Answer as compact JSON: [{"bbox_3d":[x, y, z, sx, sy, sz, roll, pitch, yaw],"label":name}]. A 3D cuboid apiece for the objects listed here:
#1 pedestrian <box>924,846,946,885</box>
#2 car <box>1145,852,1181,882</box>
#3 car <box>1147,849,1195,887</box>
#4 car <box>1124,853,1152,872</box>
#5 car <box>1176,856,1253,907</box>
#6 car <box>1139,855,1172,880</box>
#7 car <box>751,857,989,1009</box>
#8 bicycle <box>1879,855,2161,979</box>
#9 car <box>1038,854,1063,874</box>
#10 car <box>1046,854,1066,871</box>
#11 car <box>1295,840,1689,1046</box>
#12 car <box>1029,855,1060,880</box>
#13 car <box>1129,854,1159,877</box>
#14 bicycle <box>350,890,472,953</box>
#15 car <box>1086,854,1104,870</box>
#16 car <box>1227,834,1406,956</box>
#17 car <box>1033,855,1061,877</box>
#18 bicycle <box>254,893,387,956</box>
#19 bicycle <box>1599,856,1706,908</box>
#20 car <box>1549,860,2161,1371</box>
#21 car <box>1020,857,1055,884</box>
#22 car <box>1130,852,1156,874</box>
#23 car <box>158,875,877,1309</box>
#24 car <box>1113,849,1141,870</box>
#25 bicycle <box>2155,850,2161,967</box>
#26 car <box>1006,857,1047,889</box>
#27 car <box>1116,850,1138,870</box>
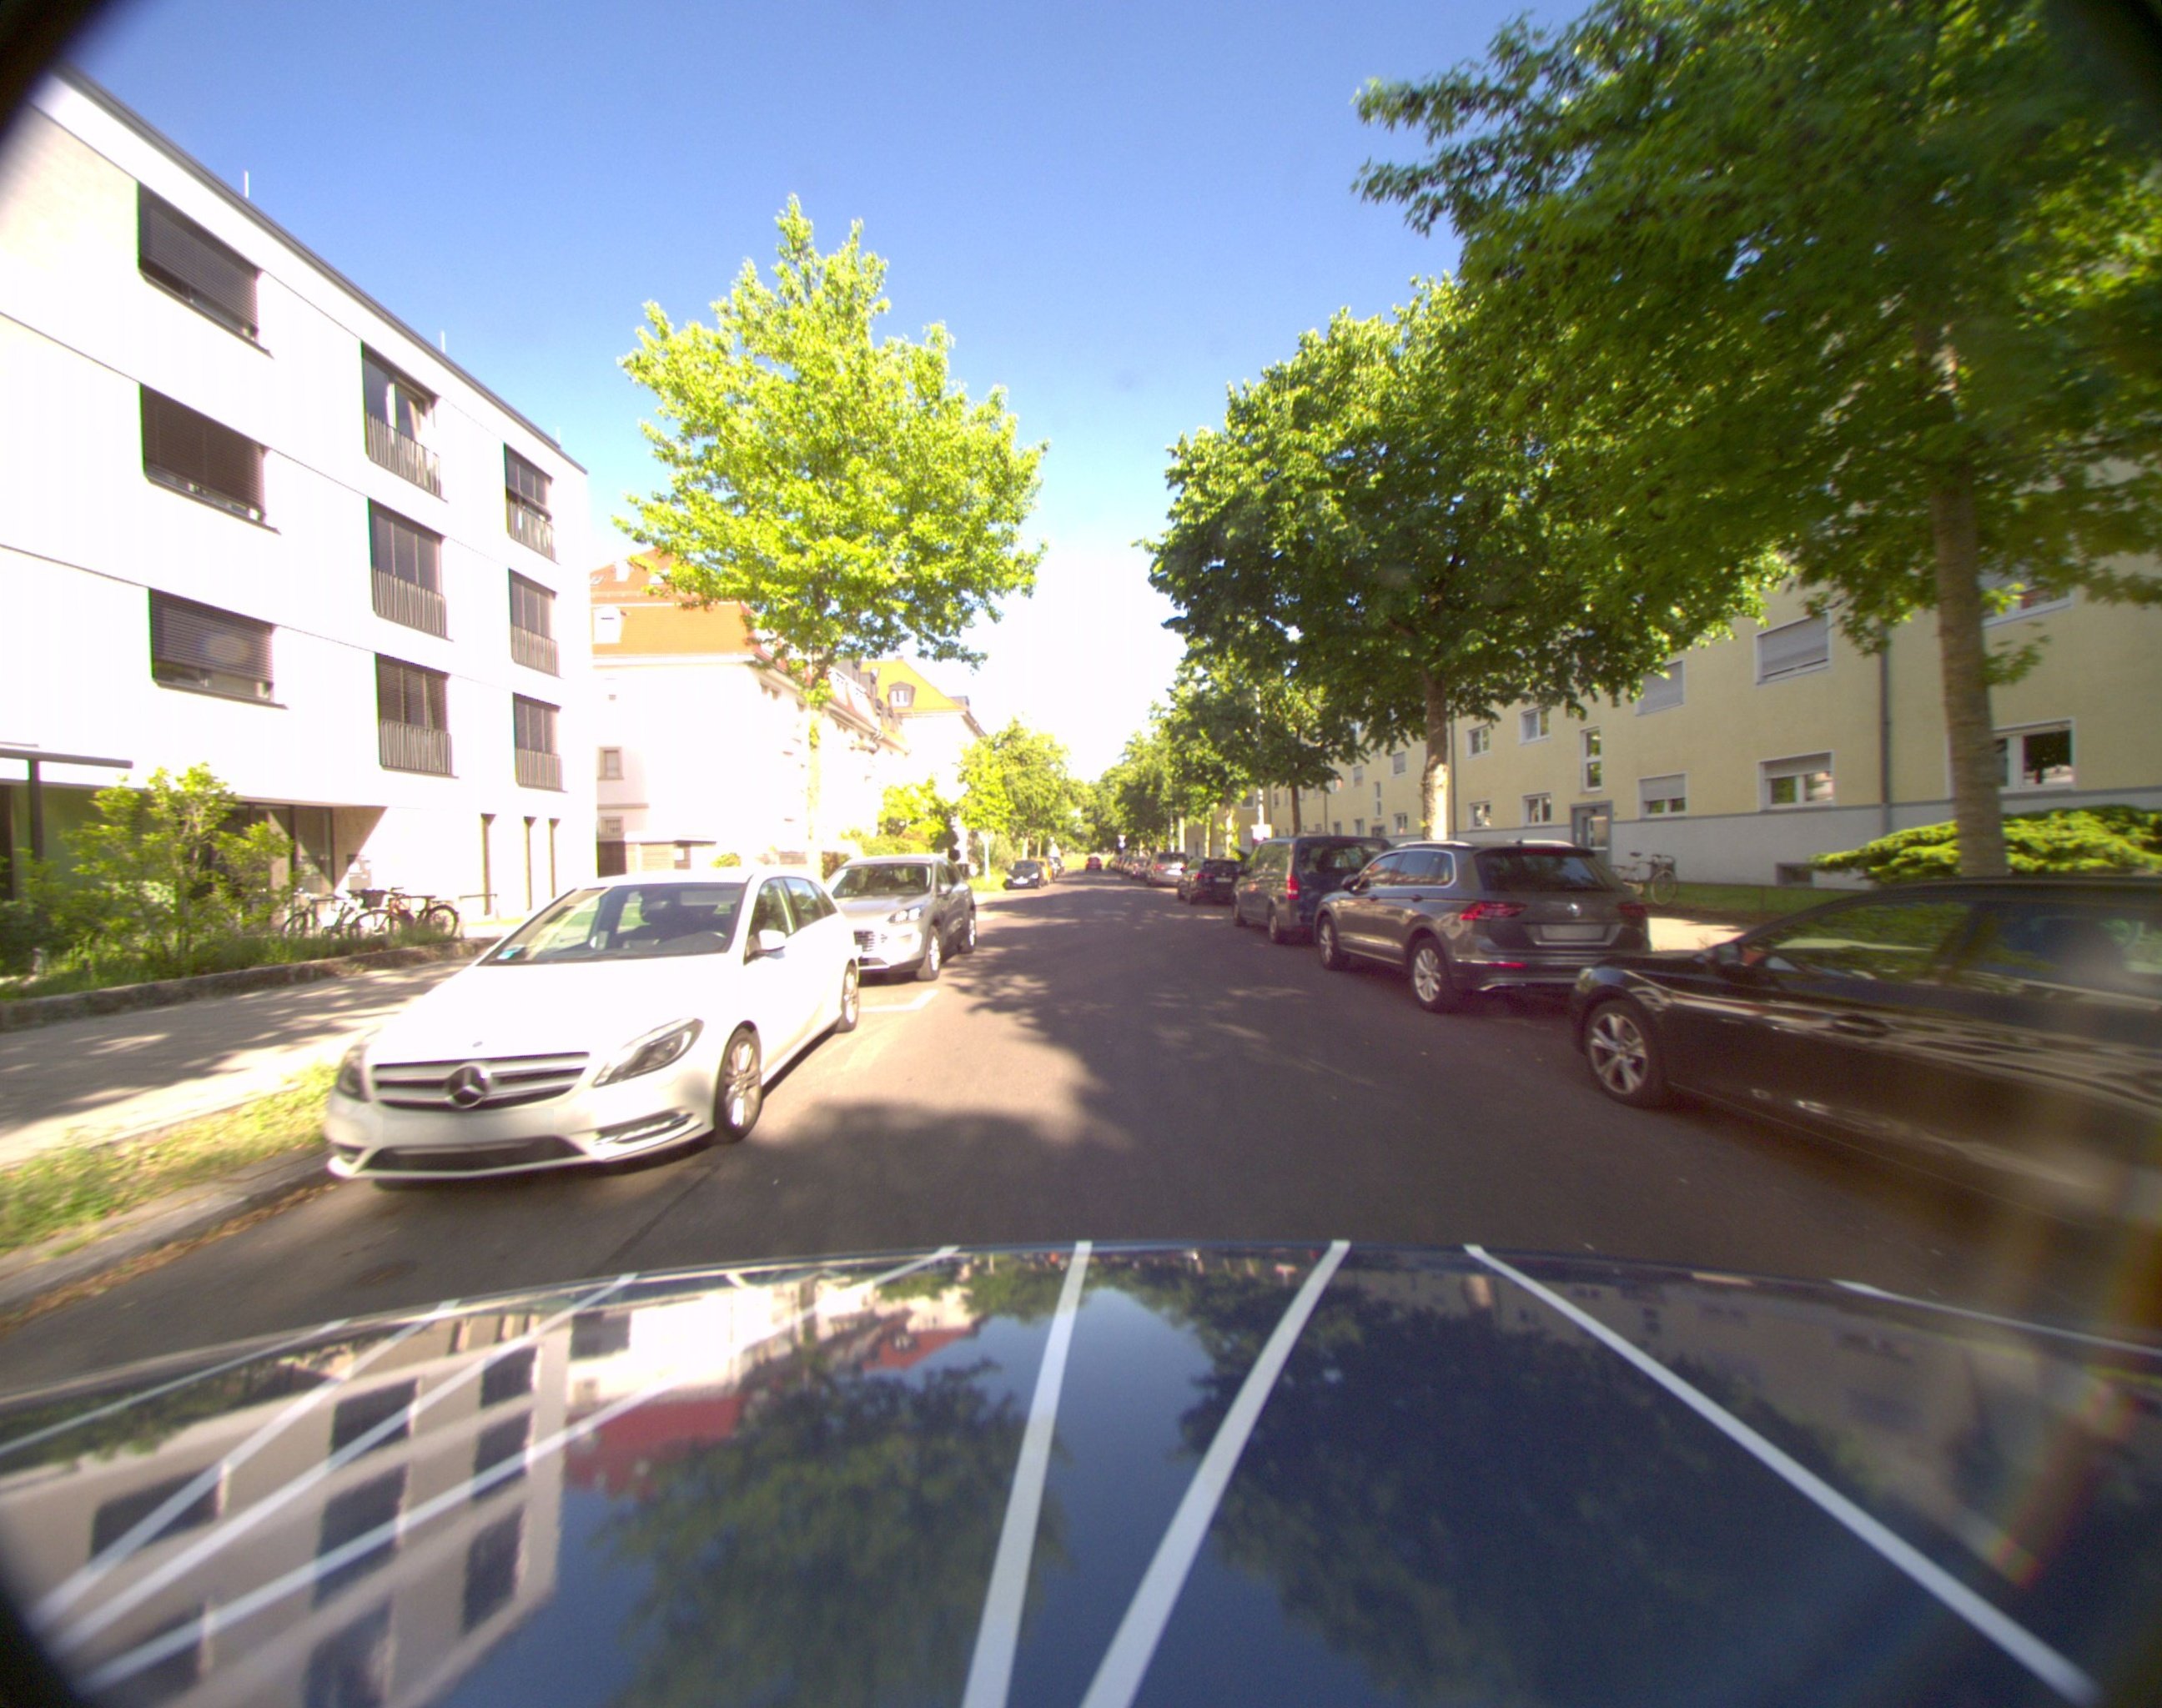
[{"bbox_3d":[-7.704,0.603,40.111,0.907,2.002,1.006,-1,1,1],"label":"pedestrian"},{"bbox_3d":[4.466,0.701,41.786,1.606,1.535,3.416,-1,0,0],"label":"car"},{"bbox_3d":[4.234,0.620,36.339,1.864,1.718,4.000,0,0,1],"label":"car"},{"bbox_3d":[4.571,0.664,61.493,1.805,1.470,3.999,-1,0,-3],"label":"car"},{"bbox_3d":[4.208,0.811,24.561,1.780,1.462,4.063,1,0,0],"label":"car"},{"bbox_3d":[4.427,0.760,45.541,1.606,1.382,3.811,-1,0,0],"label":"car"},{"bbox_3d":[-2.723,0.923,11.147,1.901,1.638,4.862,-2,0,2],"label":"car"},{"bbox_3d":[10.403,0.615,8.480,0.596,1.183,2.260,-1,0,-1],"label":"bicycle"},{"bbox_3d":[-2.302,0.781,58.295,1.670,1.456,3.536,-1,0,1],"label":"car"},{"bbox_3d":[-2.359,0.774,71.594,1.670,1.456,3.536,-1,0,1],"label":"car"},{"bbox_3d":[4.053,0.727,8.550,1.798,1.676,4.525,-1,0,-3],"label":"car"},{"bbox_3d":[-2.273,0.826,48.439,1.670,1.456,3.674,-1,0,1],"label":"car"},{"bbox_3d":[4.112,0.752,50.027,1.606,1.382,3.811,-1,0,0],"label":"car"},{"bbox_3d":[-11.150,1.098,12.718,0.564,0.889,1.609,-1,0,1],"label":"bicycle"},{"bbox_3d":[1.404,0.792,75.721,1.665,1.456,3.447,-1,0,1],"label":"car"},{"bbox_3d":[4.066,0.617,14.034,1.798,1.839,4.866,-1,0,0],"label":"car"},{"bbox_3d":[-2.349,0.804,53.347,1.670,1.456,3.536,-1,0,1],"label":"car"},{"bbox_3d":[-12.653,1.154,12.718,0.564,0.889,1.609,-1,0,1],"label":"bicycle"},{"bbox_3d":[10.889,0.497,14.564,0.596,0.911,1.903,-1,0,-1],"label":"bicycle"},{"bbox_3d":[4.047,0.779,2.847,1.798,1.443,4.489,-1,0,-1],"label":"car"},{"bbox_3d":[-2.424,0.897,42.964,1.670,1.456,3.536,-1,0,1],"label":"car"},{"bbox_3d":[4.515,0.639,55.724,1.606,1.463,3.811,-1,0,0],"label":"car"},{"bbox_3d":[-2.860,1.008,5.393,1.786,1.509,4.685,-2,0,-4],"label":"car"},{"bbox_3d":[4.021,0.462,66.920,1.891,1.797,3.913,-1,0,-4],"label":"car"},{"bbox_3d":[12.142,0.538,7.671,1.826,1.218,0.517,-2,1,1],"label":"bicycle"},{"bbox_3d":[-2.700,0.918,38.185,1.670,1.456,3.536,-1,0,1],"label":"car"},{"bbox_3d":[4.331,0.548,71.832,1.713,1.752,3.712,-1,1,-1],"label":"car"}]
